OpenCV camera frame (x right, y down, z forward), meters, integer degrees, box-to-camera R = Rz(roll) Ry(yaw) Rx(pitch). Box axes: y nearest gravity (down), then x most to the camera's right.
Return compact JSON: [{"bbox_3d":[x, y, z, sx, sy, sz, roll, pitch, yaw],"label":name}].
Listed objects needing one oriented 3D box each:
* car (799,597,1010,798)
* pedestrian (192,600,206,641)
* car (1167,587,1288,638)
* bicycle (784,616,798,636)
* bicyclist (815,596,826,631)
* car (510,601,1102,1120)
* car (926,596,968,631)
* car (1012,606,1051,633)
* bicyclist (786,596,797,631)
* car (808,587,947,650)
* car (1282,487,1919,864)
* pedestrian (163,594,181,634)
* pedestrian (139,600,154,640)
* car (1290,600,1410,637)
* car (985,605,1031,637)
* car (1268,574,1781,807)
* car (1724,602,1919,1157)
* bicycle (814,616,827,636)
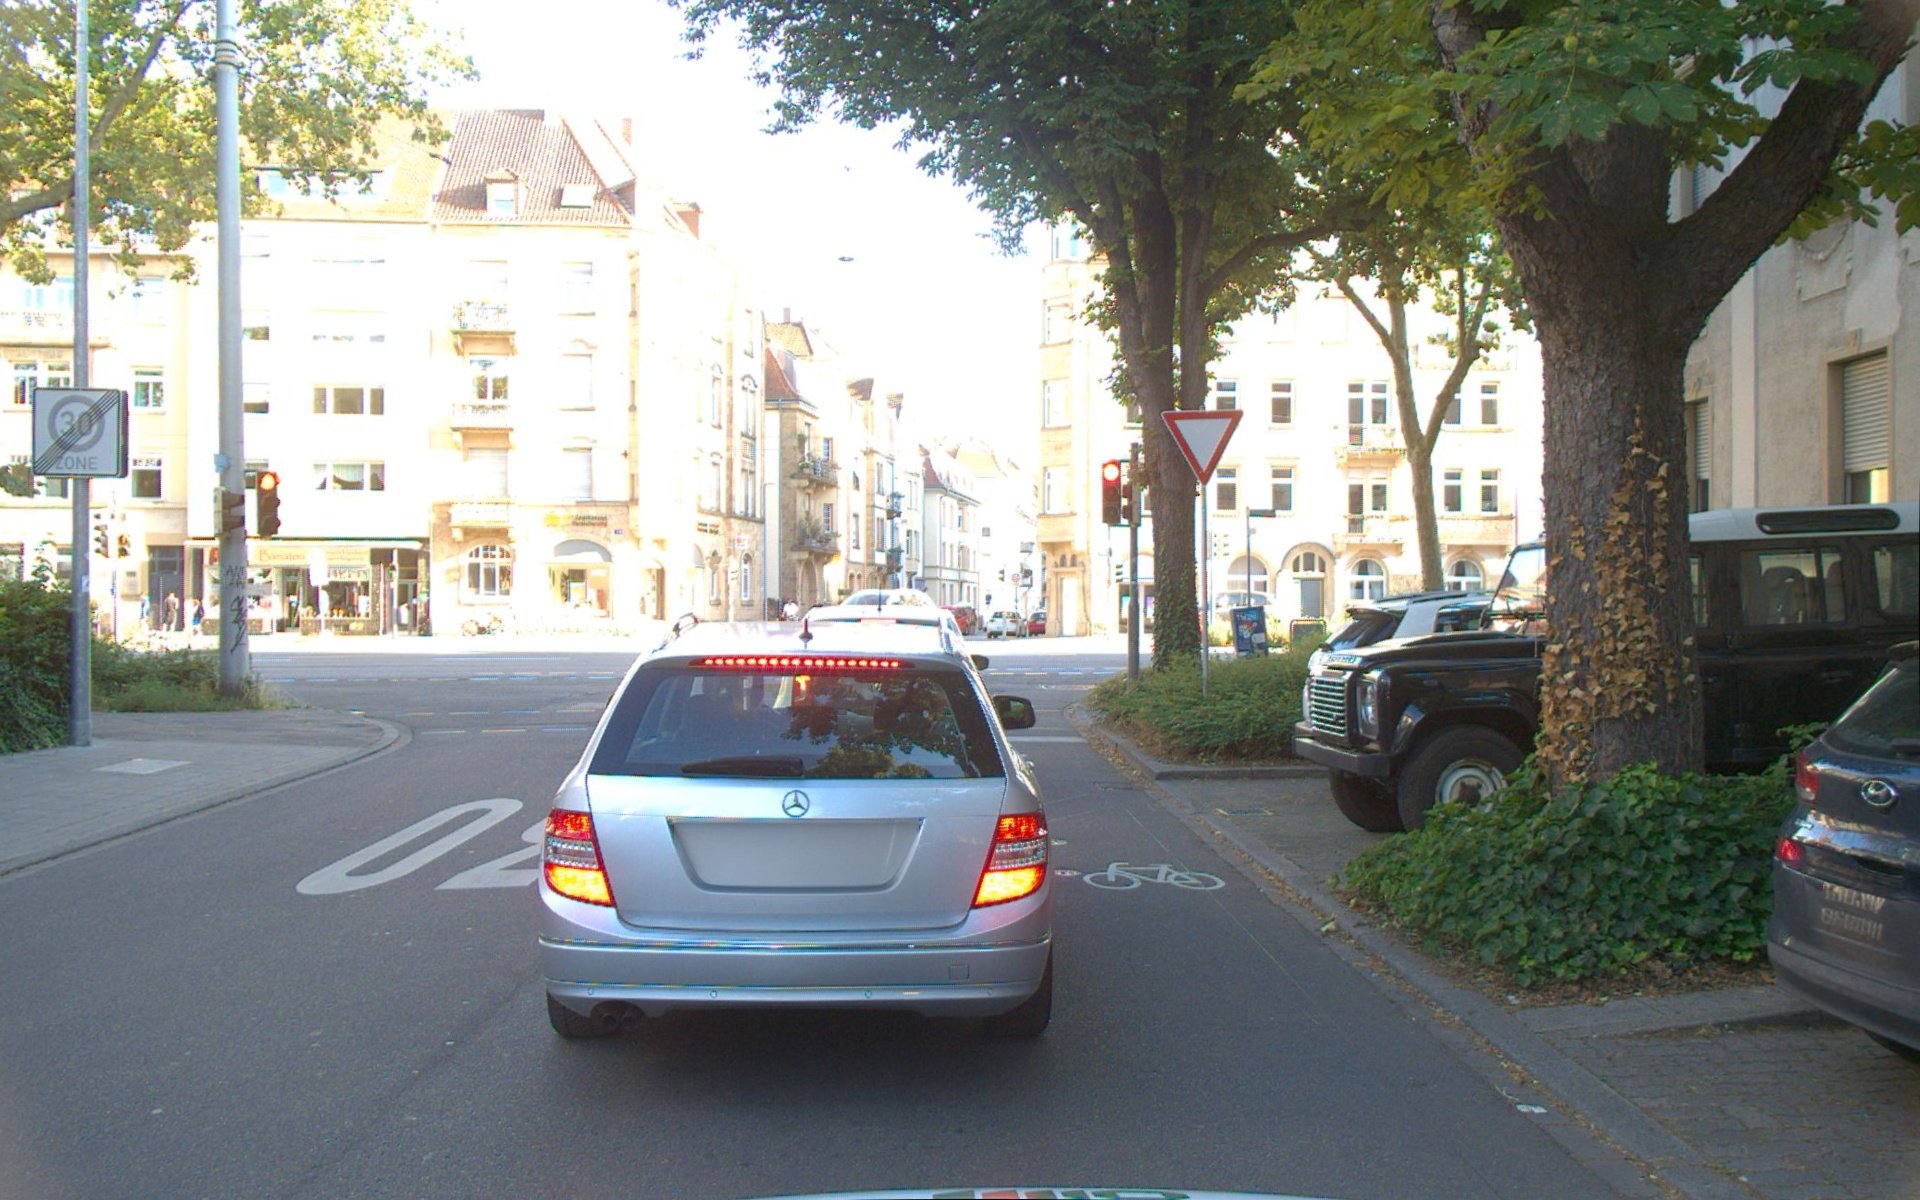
[{"bbox_3d":[-0.466,0.697,13.633,1.502,1.415,3.597,0,0,-2],"label":"car"},{"bbox_3d":[-29.208,0.783,63.477,0.466,1.537,0.428,0,0,-21],"label":"pedestrian"},{"bbox_3d":[8.317,0.383,51.612,3.507,1.527,1.620,0,1,-1],"label":"car"},{"bbox_3d":[-7.499,1.141,73.435,0.557,0.849,1.564,0,0,-4],"label":"bicycle"},{"bbox_3d":[-6.175,0.597,73.324,0.457,1.547,0.693,0,0,-4],"label":"bicyclist"},{"bbox_3d":[-0.529,0.750,6.460,1.657,1.454,3.490,1,0,-3],"label":"car"},{"bbox_3d":[-0.705,0.759,95.835,1.896,1.993,4.153,0,0,7],"label":"car"},{"bbox_3d":[4.433,1.185,102.125,1.684,1.503,4.004,-4,0,11],"label":"car"},{"bbox_3d":[-7.477,0.601,73.287,0.457,1.541,0.655,0,0,-4],"label":"bicyclist"},{"bbox_3d":[-2.035,0.424,42.101,1.746,1.487,4.297,0,1,25],"label":"car"},{"bbox_3d":[4.414,0.392,10.234,4.402,1.990,1.791,-2,0,-4],"label":"car"},{"bbox_3d":[-29.795,0.524,62.515,0.557,1.537,0.499,0,0,-20],"label":"pedestrian"},{"bbox_3d":[-31.345,0.757,63.696,0.502,1.537,0.532,0,0,-28],"label":"pedestrian"},{"bbox_3d":[11.773,0.551,50.023,3.296,1.087,1.380,0,0,-2],"label":"car"},{"bbox_3d":[2.524,1.051,85.877,1.684,1.504,4.004,-2,0,11],"label":"car"},{"bbox_3d":[4.351,0.650,13.039,3.415,1.614,1.708,-1,0,-7],"label":"car"},{"bbox_3d":[4.328,0.679,4.558,3.675,1.446,1.627,-2,-1,-4],"label":"car"},{"bbox_3d":[-6.175,1.129,73.219,0.557,0.849,1.564,0,0,-4],"label":"bicycle"}]
